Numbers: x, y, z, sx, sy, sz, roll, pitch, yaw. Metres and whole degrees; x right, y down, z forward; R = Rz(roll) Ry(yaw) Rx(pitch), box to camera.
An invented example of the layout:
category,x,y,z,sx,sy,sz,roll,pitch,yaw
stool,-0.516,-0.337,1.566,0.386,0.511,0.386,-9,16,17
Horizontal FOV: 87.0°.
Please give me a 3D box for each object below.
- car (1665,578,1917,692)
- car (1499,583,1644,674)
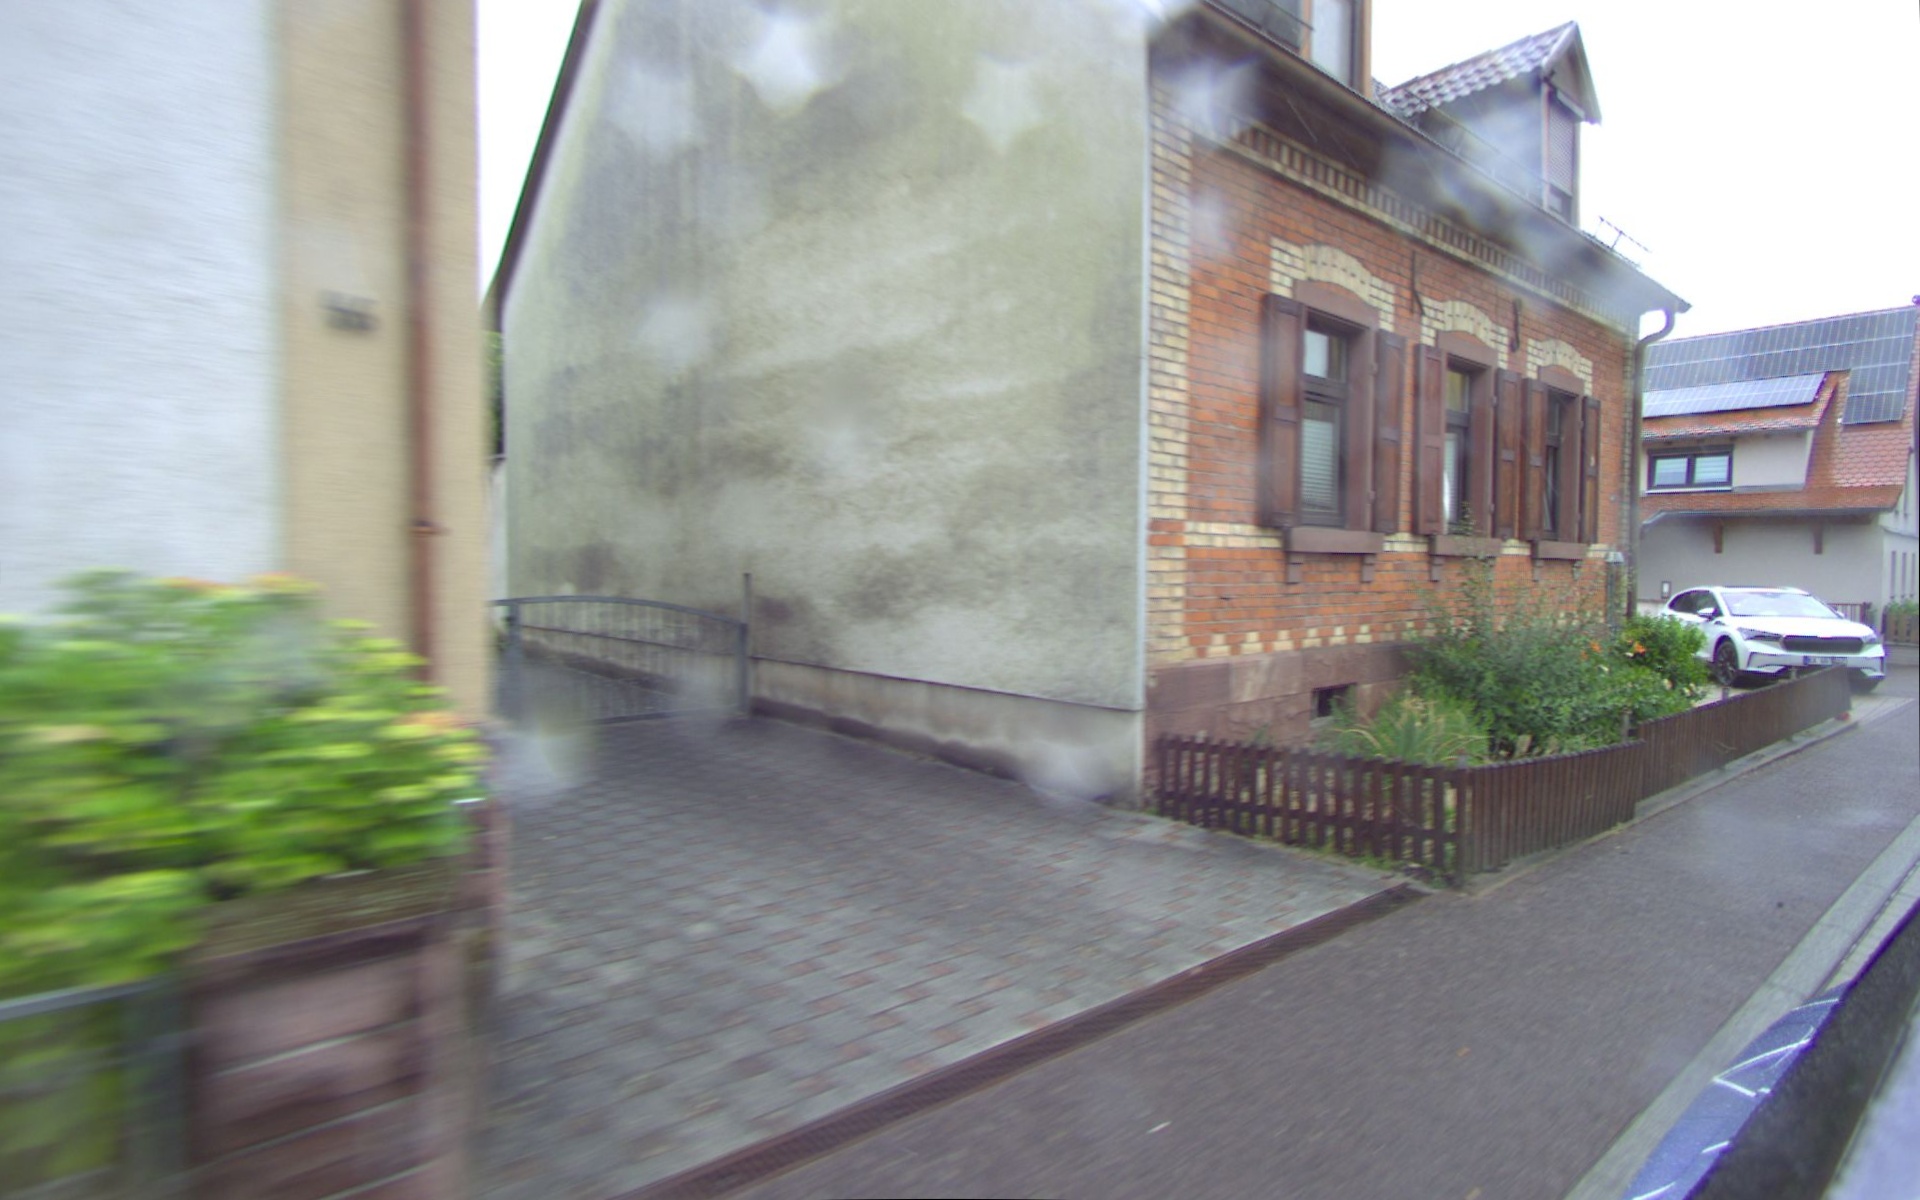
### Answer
category,x,y,z,sx,sy,sz,roll,pitch,yaw
car,13.065,0.474,16.234,1.867,1.595,3.867,0,0,19
car,10.859,0.443,18.202,1.471,1.459,3.696,0,0,19
